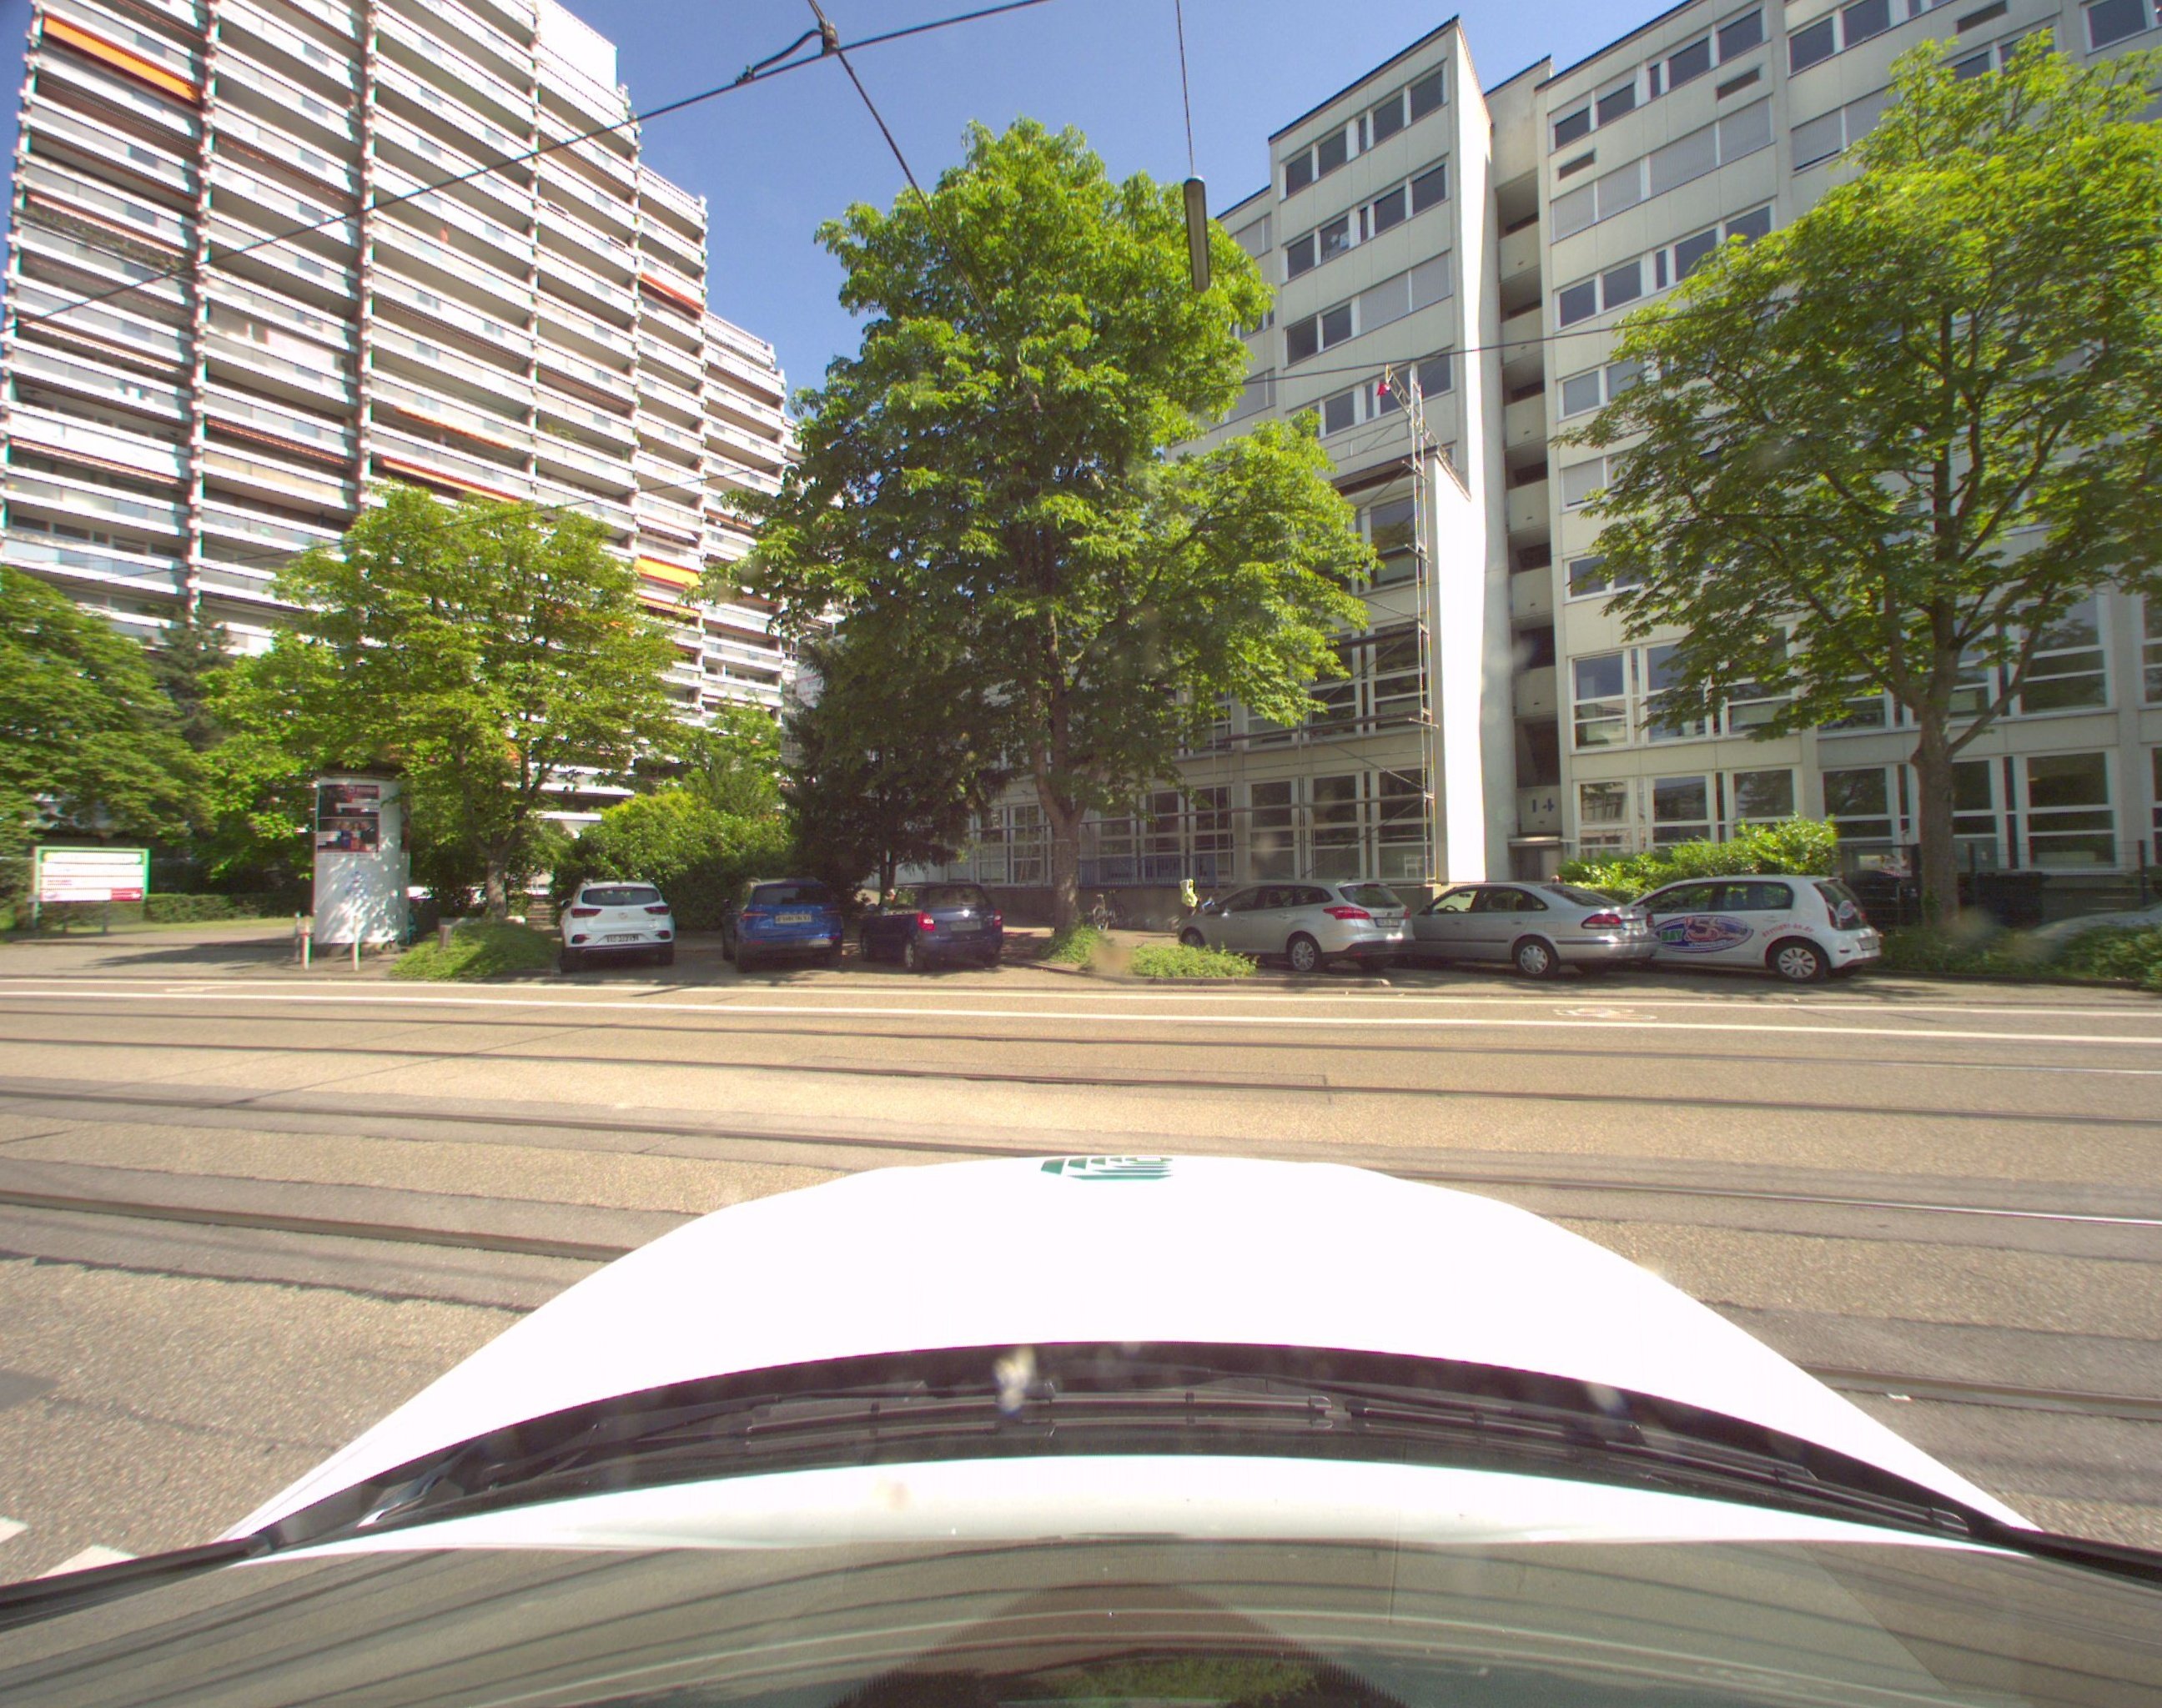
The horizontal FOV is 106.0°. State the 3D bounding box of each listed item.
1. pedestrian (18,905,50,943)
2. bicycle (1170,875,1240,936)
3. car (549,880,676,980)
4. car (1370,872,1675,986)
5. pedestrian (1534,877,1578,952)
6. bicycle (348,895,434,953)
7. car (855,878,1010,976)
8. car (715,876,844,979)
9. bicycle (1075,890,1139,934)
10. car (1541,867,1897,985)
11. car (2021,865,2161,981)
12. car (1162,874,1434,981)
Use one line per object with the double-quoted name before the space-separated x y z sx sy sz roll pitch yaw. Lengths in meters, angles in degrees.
"pedestrian" -32.228 2.146 25.061 0.692 1.154 0.538 -3 -3 34
"bicycle" 3.163 1.273 20.622 0.655 1.454 2.102 -3 -3 44
"car" -9.263 1.393 15.940 1.827 1.606 3.902 -2 -1 -34
"car" 6.699 1.076 12.808 1.618 1.486 3.906 0 -3 -30
"pedestrian" 9.462 1.200 16.245 0.615 1.461 0.426 -2 -3 16
"bicycle" -16.124 1.639 19.043 1.607 1.309 0.548 -1 -3 7
"car" -2.794 1.246 14.780 1.582 1.531 3.422 1 -3 -32
"car" -5.808 1.252 15.411 1.785 1.622 3.909 -1 -1 -28
"bicycle" 0.730 1.545 22.101 0.734 1.086 2.217 -2 -3 31
"car" 9.468 1.037 12.441 1.618 1.486 3.905 0 -4 -31
"car" 16.057 0.926 10.939 1.565 1.604 4.297 2 -4 -35
"car" 3.444 1.145 13.822 1.791 1.486 4.389 1 -3 -32
